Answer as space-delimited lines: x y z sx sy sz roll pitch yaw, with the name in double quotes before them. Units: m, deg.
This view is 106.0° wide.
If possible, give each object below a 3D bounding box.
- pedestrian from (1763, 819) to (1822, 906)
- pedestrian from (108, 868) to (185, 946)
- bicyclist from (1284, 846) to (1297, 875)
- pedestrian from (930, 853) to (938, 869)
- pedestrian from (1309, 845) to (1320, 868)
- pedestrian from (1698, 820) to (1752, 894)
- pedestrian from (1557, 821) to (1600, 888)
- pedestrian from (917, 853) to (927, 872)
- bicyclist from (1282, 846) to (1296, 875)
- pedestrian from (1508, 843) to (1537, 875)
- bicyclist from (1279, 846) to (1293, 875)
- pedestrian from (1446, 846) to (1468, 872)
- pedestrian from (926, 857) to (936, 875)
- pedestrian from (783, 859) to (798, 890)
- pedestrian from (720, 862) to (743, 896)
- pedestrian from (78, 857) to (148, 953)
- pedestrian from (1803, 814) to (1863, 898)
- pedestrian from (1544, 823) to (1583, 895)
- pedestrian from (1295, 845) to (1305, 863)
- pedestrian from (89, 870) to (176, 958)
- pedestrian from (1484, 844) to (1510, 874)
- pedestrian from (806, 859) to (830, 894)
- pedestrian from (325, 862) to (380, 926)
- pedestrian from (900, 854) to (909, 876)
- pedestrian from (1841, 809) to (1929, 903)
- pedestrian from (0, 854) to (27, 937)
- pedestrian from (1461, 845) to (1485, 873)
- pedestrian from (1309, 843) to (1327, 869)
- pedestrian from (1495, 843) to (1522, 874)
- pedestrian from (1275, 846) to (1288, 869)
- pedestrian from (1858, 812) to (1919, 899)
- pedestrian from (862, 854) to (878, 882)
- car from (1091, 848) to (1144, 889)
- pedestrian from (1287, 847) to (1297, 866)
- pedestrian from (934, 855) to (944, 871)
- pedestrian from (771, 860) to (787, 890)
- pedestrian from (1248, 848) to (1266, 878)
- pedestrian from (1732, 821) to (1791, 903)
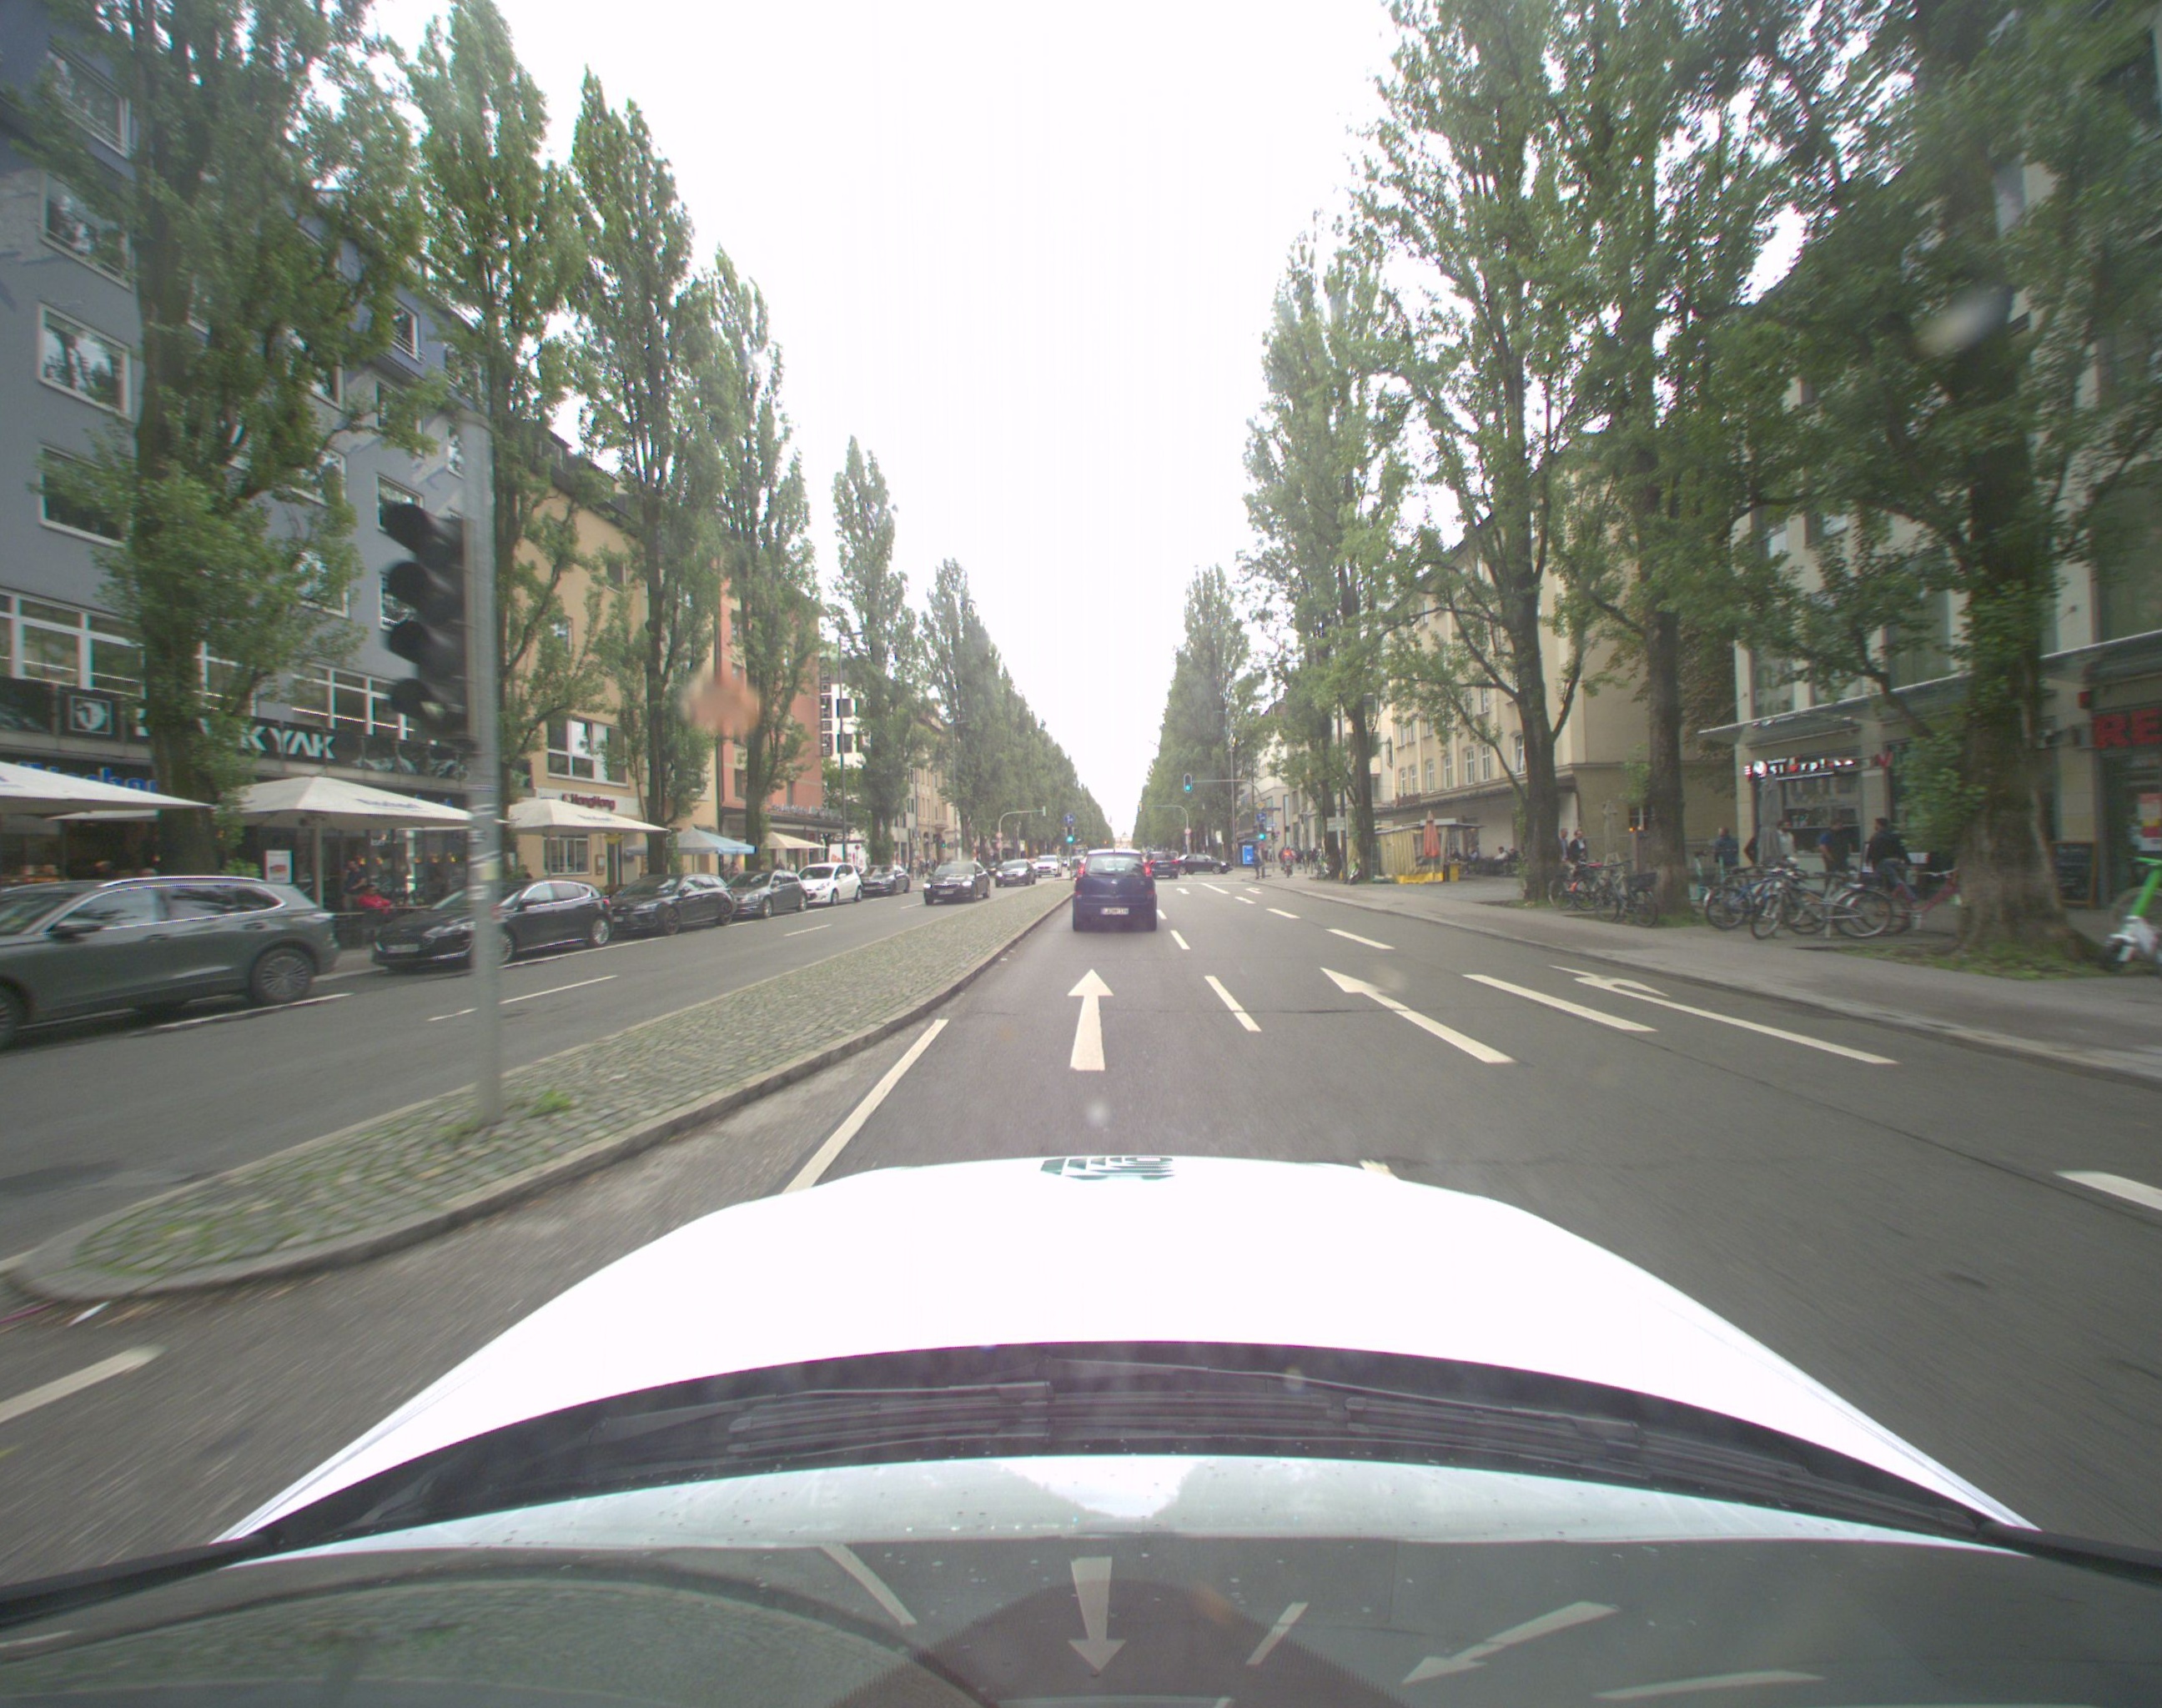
"pedestrian" 15.300 0.171 17.526 0.619 1.819 0.692 -2 0 1
"pedestrian" -20.011 1.124 17.451 0.750 1.601 0.743 -2 0 2
"bicyclist" 11.597 0.344 45.112 0.619 1.588 0.392 -2 -1 2
"pedestrian" -16.830 0.790 93.352 0.696 1.787 0.821 -1 0 4
"pedestrian" 18.620 0.202 64.960 0.705 1.758 0.753 -1 0 4
"pedestrian" 16.183 0.068 20.468 0.739 1.814 0.757 -1 0 6
"pedestrian" 14.290 0.016 23.417 0.653 1.851 0.907 -2 0 5
"pedestrian" -15.303 0.787 78.410 0.796 1.787 0.912 0 0 3
"bicyclist" 11.617 0.347 45.550 0.619 1.588 0.482 -2 0 2
"pedestrian" 17.857 0.211 32.964 0.772 1.264 0.700 -2 0 3
"bicyclist" 11.645 0.353 46.258 0.619 1.588 0.753 -2 0 2
"pedestrian" 18.759 0.256 40.680 0.772 1.264 0.700 -2 0 3
"pedestrian" -13.665 1.081 74.255 0.747 1.567 0.989 -1 0 2
"pedestrian" -16.522 1.161 46.284 0.552 1.717 0.692 -2 0 2
"pedestrian" -17.641 1.270 41.138 0.777 1.668 0.803 -2 0 2
"pedestrian" -22.984 1.194 19.354 0.777 2.211 0.692 -2 0 2
"pedestrian" 16.536 0.044 17.933 0.653 1.784 0.674 -2 0 4
"pedestrian" 13.561 0.149 22.904 0.653 1.971 0.723 -2 0 6
"pedestrian" 20.920 0.015 77.679 0.746 1.758 0.711 -1 0 4
"pedestrian" -18.039 1.121 15.509 0.737 1.601 0.757 -2 0 5
"pedestrian" 18.300 0.220 35.855 0.772 1.264 0.700 -2 0 3
"pedestrian" -13.929 1.188 43.177 0.729 1.796 0.998 -1 -1 21
"pedestrian" -19.420 1.058 21.724 0.737 1.641 0.757 -2 0 5
"pedestrian" -13.798 0.888 63.658 0.584 1.691 0.514 -1 0 3
"pedestrian" 16.249 0.032 16.477 0.813 1.814 0.975 -2 0 -19
"pedestrian" -23.952 0.913 17.822 0.777 1.804 0.744 -2 0 5
"pedestrian" 18.528 0.240 38.522 0.772 1.264 0.700 -2 0 3
"pedestrian" 15.779 0.131 54.201 0.670 1.703 0.850 0 -3 -41
"pedestrian" 17.942 0.197 34.170 0.772 1.264 0.700 -2 0 3
"pedestrian" 16.154 0.282 65.690 0.815 1.818 0.891 -1 0 1
"pedestrian" 17.066 0.036 17.223 0.562 1.784 0.674 -2 0 4
"pedestrian" -13.446 0.901 51.964 0.721 1.771 0.779 -1 0 4
"car" 1.466 0.564 32.989 1.986 1.497 4.002 -2 0 2
"pedestrian" 20.111 0.257 77.536 0.746 1.758 1.018 -1 0 4
"pedestrian" -15.222 0.980 87.326 0.775 1.618 0.935 -2 0 2
"pedestrian" -17.090 1.176 46.075 0.552 1.638 0.692 -2 0 2
"pedestrian" 9.859 0.501 45.692 0.763 1.609 0.864 -2 0 -1
"pedestrian" 14.586 0.171 17.470 0.654 1.710 0.692 -2 0 1
